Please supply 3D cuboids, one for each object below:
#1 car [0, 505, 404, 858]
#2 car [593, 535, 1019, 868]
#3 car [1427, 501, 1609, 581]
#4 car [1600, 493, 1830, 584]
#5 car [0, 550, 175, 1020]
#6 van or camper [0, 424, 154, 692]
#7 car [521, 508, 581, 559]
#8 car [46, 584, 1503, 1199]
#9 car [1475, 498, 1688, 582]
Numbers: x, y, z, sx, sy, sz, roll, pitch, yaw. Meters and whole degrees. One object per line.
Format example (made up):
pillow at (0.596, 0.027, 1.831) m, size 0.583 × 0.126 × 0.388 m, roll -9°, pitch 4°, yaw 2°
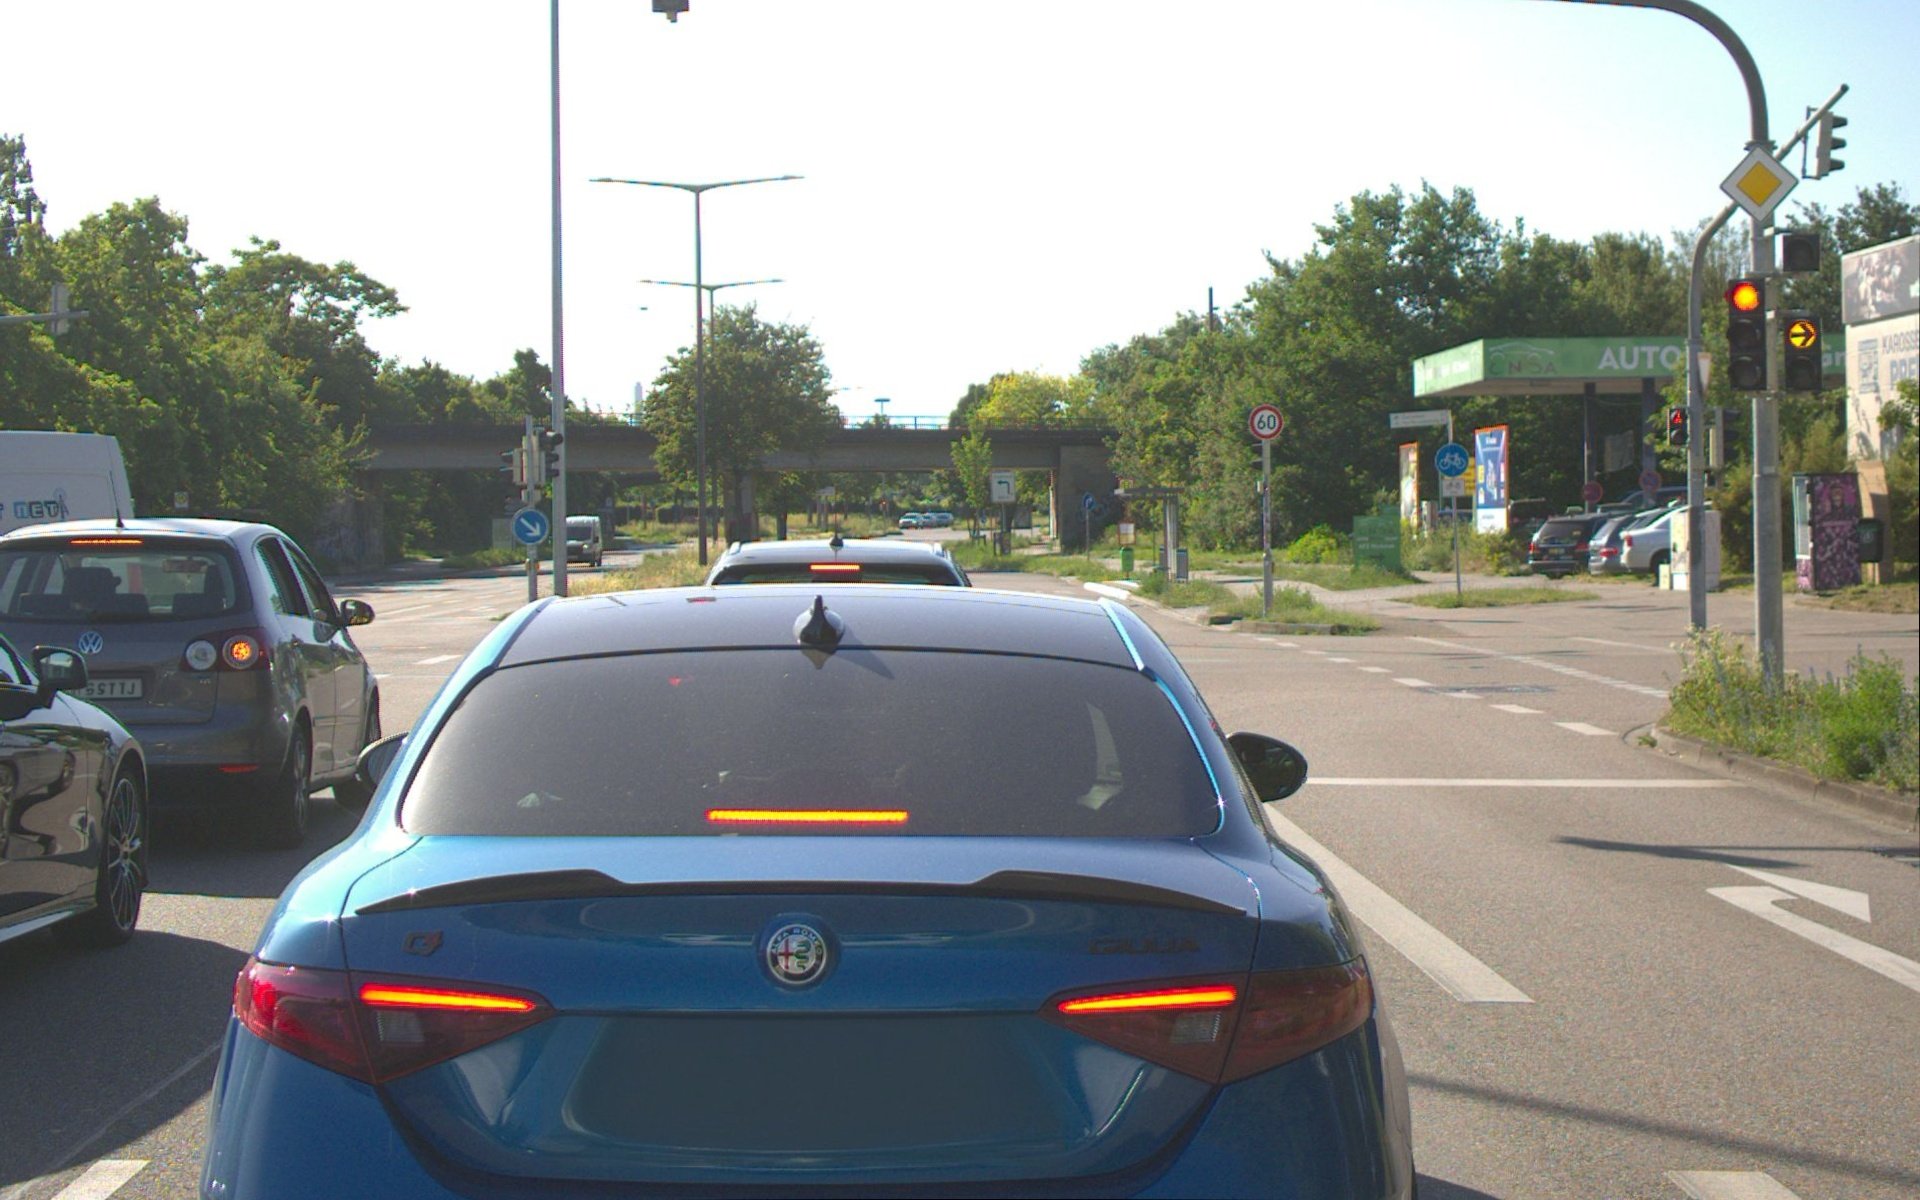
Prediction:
car at (-3.959, 0.330, 17.524) m, size 1.648 × 1.593 × 3.932 m, roll 0°, pitch 1°, yaw -1°
car at (-0.699, 0.411, 17.084) m, size 1.866 × 1.445 × 3.932 m, roll 0°, pitch 1°, yaw -1°
car at (12.024, -1.280, 74.158) m, size 3.483 × 1.700 × 1.696 m, roll -1°, pitch 1°, yaw -16°
car at (14.515, -1.189, 66.111) m, size 3.986 × 1.700 × 1.696 m, roll -1°, pitch 1°, yaw -16°
car at (-3.806, 0.569, 10.646) m, size 1.768 × 1.409 × 4.461 m, roll 0°, pitch 1°, yaw -1°
van or camper at (-11.058, -0.381, 32.458) m, size 2.183 × 2.563 × 6.738 m, roll 1°, pitch 2°, yaw 40°
car at (-20.032, -3.261, 168.623) m, size 2.431 × 2.418 × 5.831 m, roll 0°, pitch 1°, yaw -2°
car at (-0.261, 0.696, 6.383) m, size 1.866 × 1.380 × 3.932 m, roll 0°, pitch 1°, yaw -1°
car at (12.824, -1.243, 70.967) m, size 3.986 × 1.700 × 1.696 m, roll -1°, pitch 1°, yaw -19°
